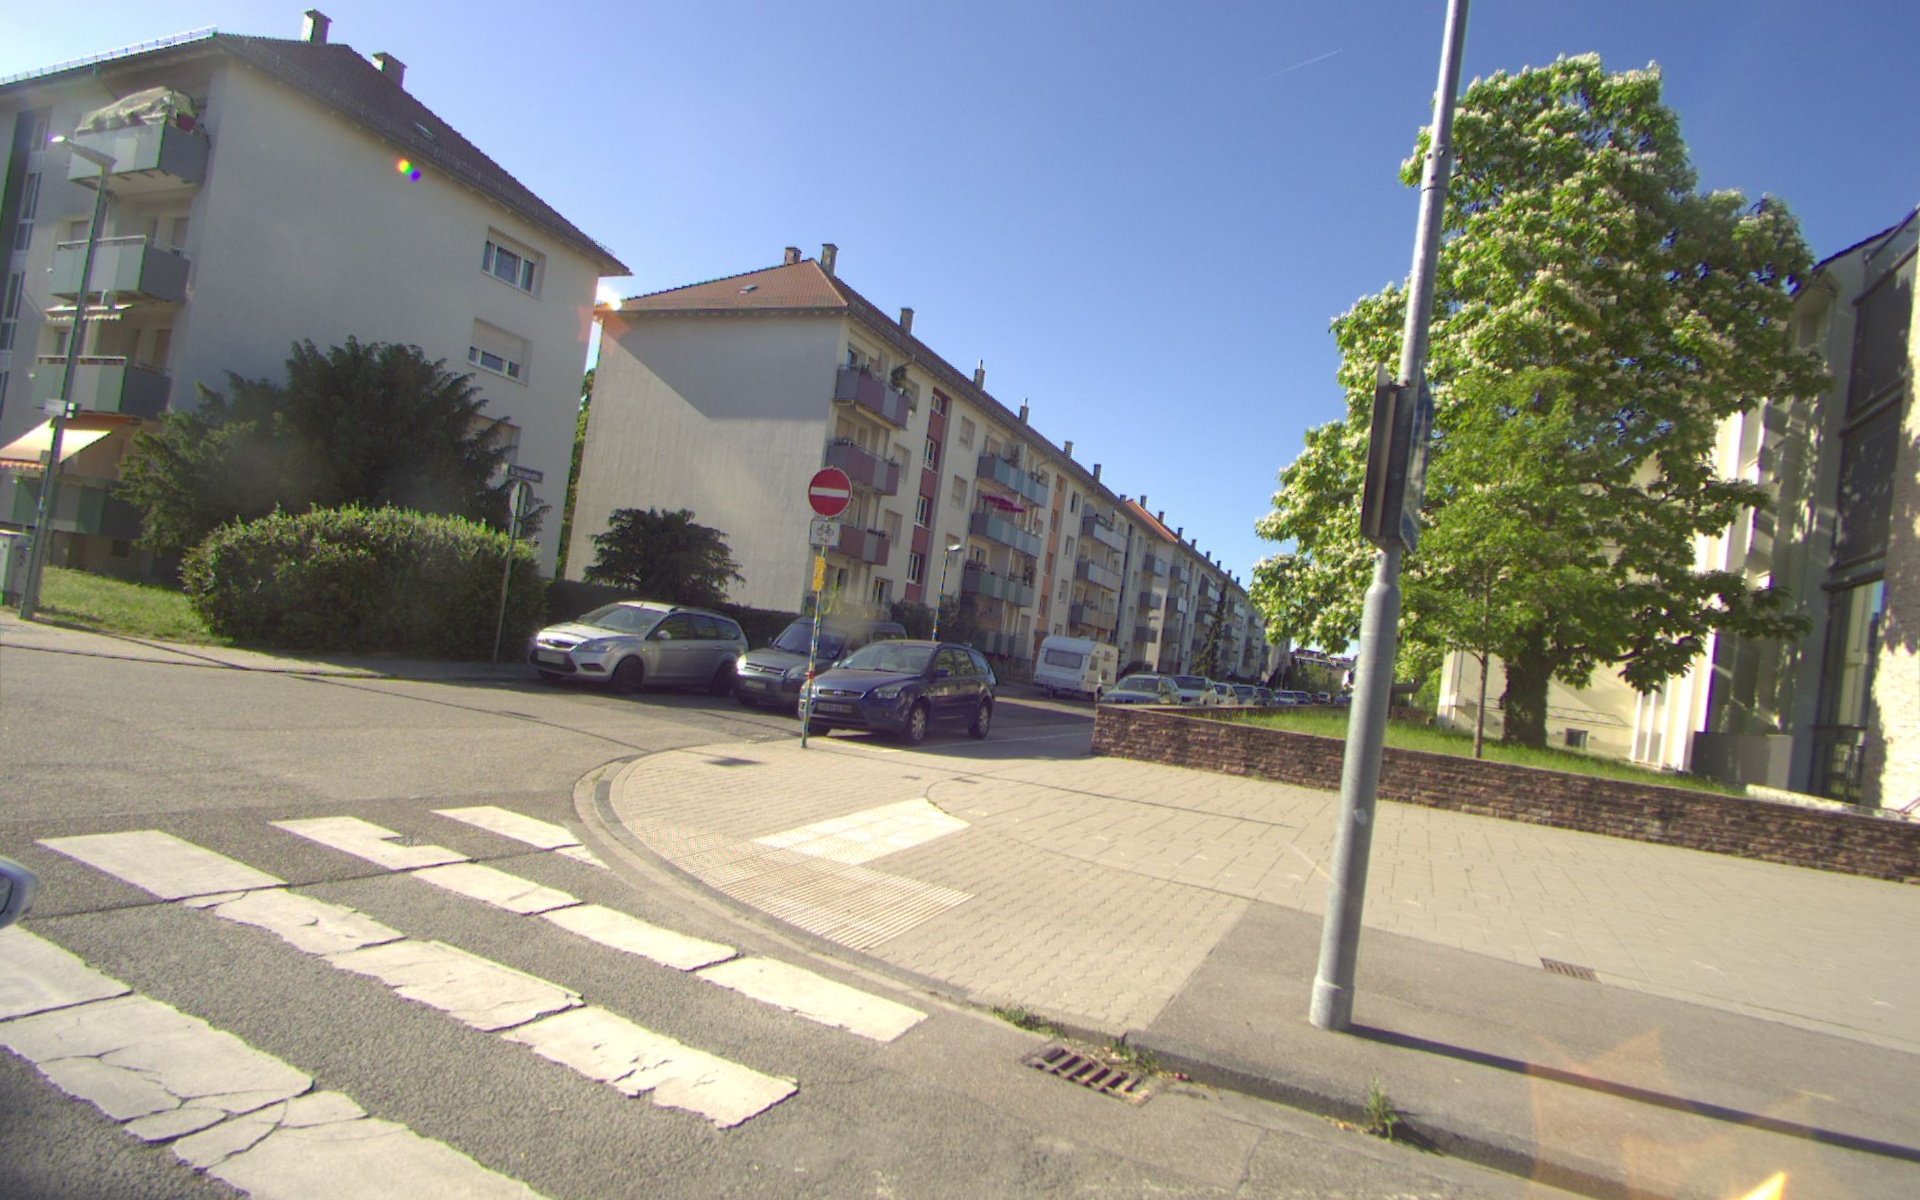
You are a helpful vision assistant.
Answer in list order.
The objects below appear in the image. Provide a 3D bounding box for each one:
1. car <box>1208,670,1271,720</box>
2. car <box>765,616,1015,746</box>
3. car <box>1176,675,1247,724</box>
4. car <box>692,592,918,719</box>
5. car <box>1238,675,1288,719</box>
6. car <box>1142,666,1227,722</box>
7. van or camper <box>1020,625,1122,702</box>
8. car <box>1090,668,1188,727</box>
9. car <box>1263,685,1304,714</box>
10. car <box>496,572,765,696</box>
[{"bbox_3d":[13.673,4.660,49.028,1.965,2.036,4.562,7,-3,27],"label":"car"},{"bbox_3d":[-0.865,1.281,15.515,1.872,1.490,4.565,6,-3,23],"label":"car"},{"bbox_3d":[10.322,4.077,41.027,1.897,1.600,4.564,7,-3,24],"label":"car"},{"bbox_3d":[-2.638,1.091,18.199,1.870,1.810,4.159,8,-3,25],"label":"car"},{"bbox_3d":[16.308,5.232,54.033,1.751,2.036,4.564,7,-3,25],"label":"car"},{"bbox_3d":[8.220,3.446,36.452,1.964,1.646,4.564,7,-3,25],"label":"car"},{"bbox_3d":[4.585,2.644,40.715,2.430,2.566,5.248,7,-3,23],"label":"van or camper"},{"bbox_3d":[5.450,2.915,30.161,1.867,1.496,4.163,3,-4,24],"label":"car"},{"bbox_3d":[21.547,6.639,66.950,1.964,1.594,4.564,7,-3,25],"label":"car"},{"bbox_3d":[-5.533,0.695,17.574,1.879,1.641,4.425,7,-3,23],"label":"car"}]
